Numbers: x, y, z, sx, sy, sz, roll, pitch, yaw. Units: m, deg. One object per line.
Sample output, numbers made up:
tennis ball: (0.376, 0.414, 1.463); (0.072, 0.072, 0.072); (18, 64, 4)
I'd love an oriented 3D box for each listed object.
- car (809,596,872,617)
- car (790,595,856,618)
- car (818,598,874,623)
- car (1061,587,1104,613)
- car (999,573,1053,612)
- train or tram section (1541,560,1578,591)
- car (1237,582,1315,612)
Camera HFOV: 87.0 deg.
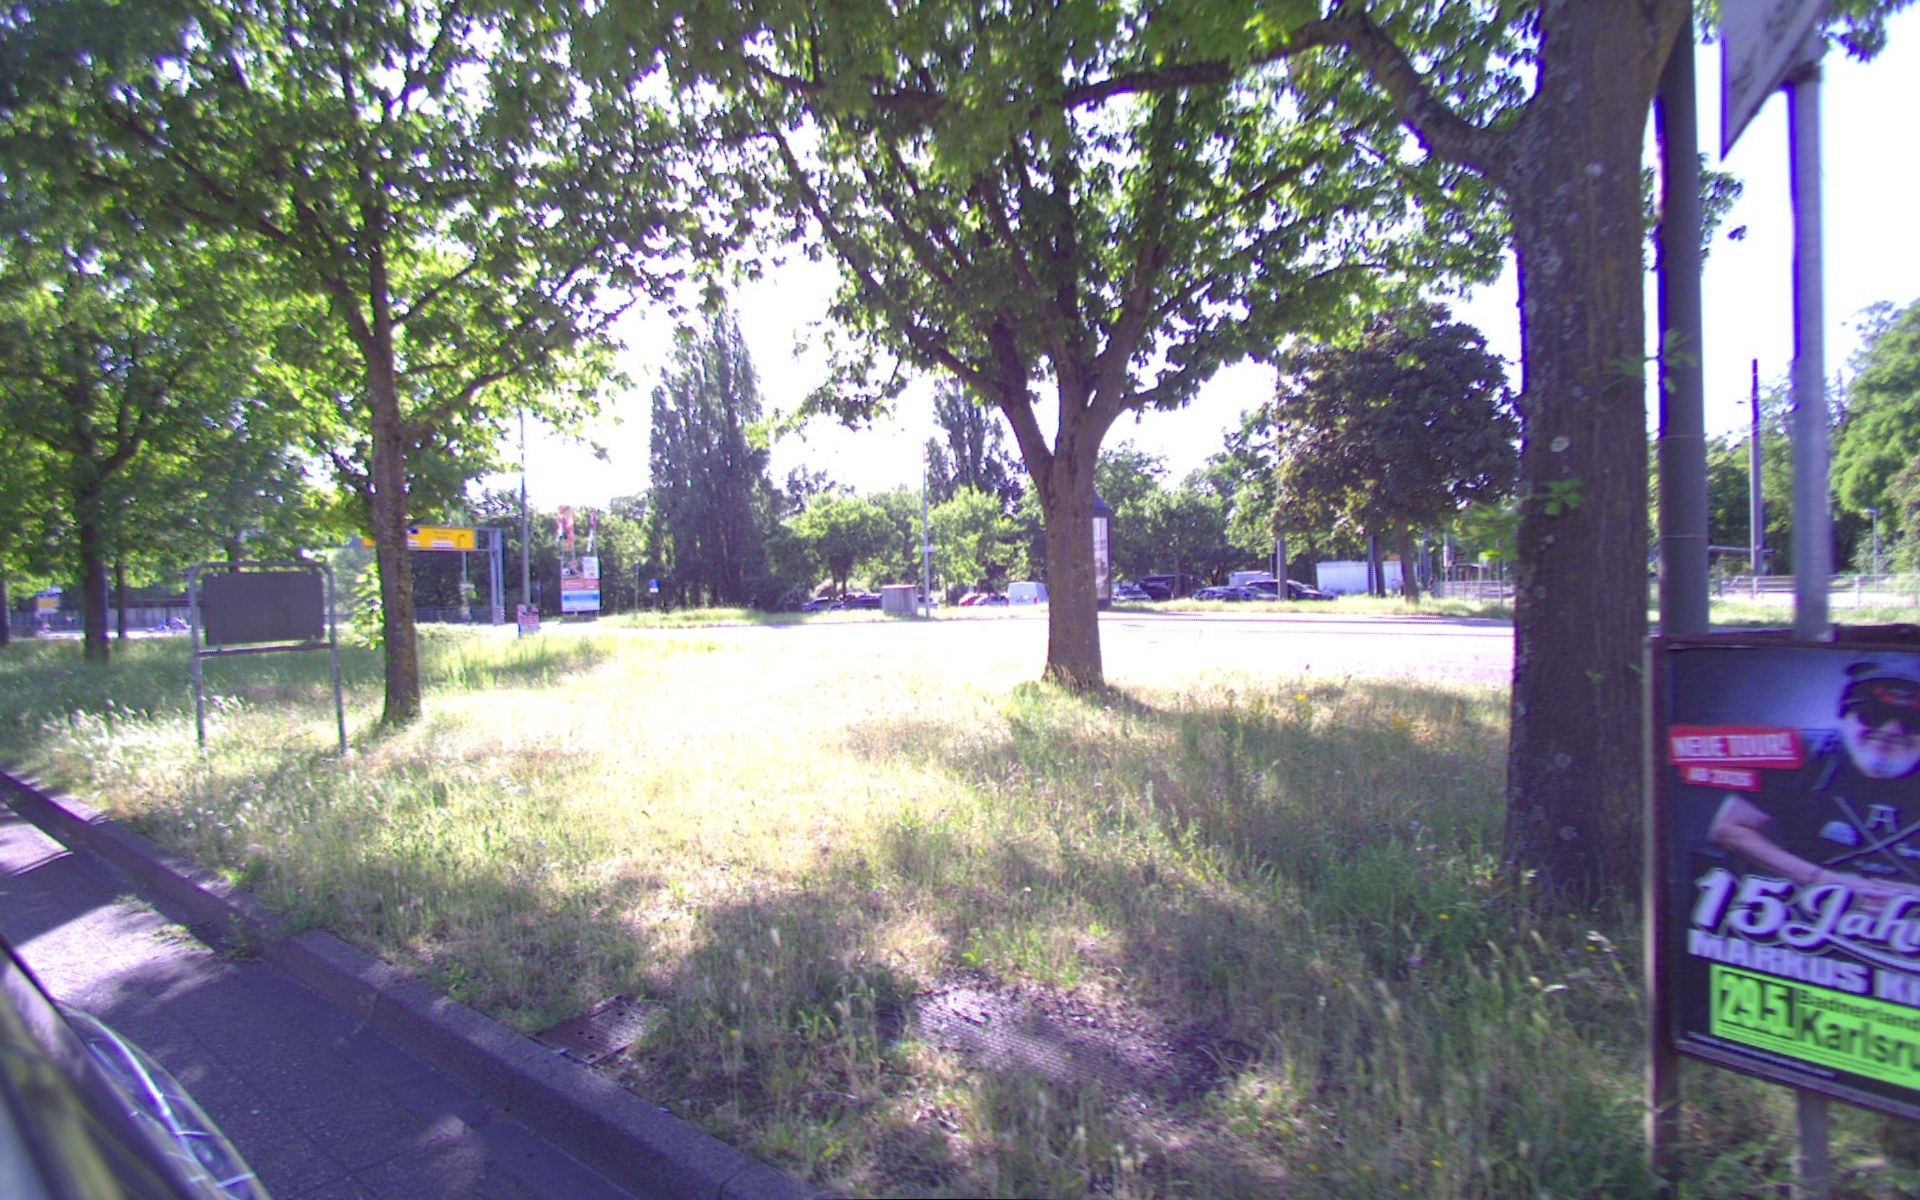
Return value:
car: (-9.308, 0.513, 79.023); (4.505, 1.475, 1.995); (-2, 2, 9)
car: (-10.190, 0.470, 75.490); (4.505, 1.475, 1.995); (-2, 2, 9)
car: (-7.027, 0.658, 62.127); (1.791, 1.459, 4.011); (-2, 0, -32)
car: (6.750, -0.039, 55.553); (1.980, 1.292, 3.985); (-2, 1, 12)
car: (3.765, -0.437, 56.796); (2.217, 2.029, 4.980); (-2, 0, 12)
train or tram section: (63.558, -2.625, 107.015); (2.463, 2.962, 19.622); (-1, 1, 33)
car: (18.269, -0.162, 58.529); (3.981, 1.579, 1.982); (-2, 1, 28)
